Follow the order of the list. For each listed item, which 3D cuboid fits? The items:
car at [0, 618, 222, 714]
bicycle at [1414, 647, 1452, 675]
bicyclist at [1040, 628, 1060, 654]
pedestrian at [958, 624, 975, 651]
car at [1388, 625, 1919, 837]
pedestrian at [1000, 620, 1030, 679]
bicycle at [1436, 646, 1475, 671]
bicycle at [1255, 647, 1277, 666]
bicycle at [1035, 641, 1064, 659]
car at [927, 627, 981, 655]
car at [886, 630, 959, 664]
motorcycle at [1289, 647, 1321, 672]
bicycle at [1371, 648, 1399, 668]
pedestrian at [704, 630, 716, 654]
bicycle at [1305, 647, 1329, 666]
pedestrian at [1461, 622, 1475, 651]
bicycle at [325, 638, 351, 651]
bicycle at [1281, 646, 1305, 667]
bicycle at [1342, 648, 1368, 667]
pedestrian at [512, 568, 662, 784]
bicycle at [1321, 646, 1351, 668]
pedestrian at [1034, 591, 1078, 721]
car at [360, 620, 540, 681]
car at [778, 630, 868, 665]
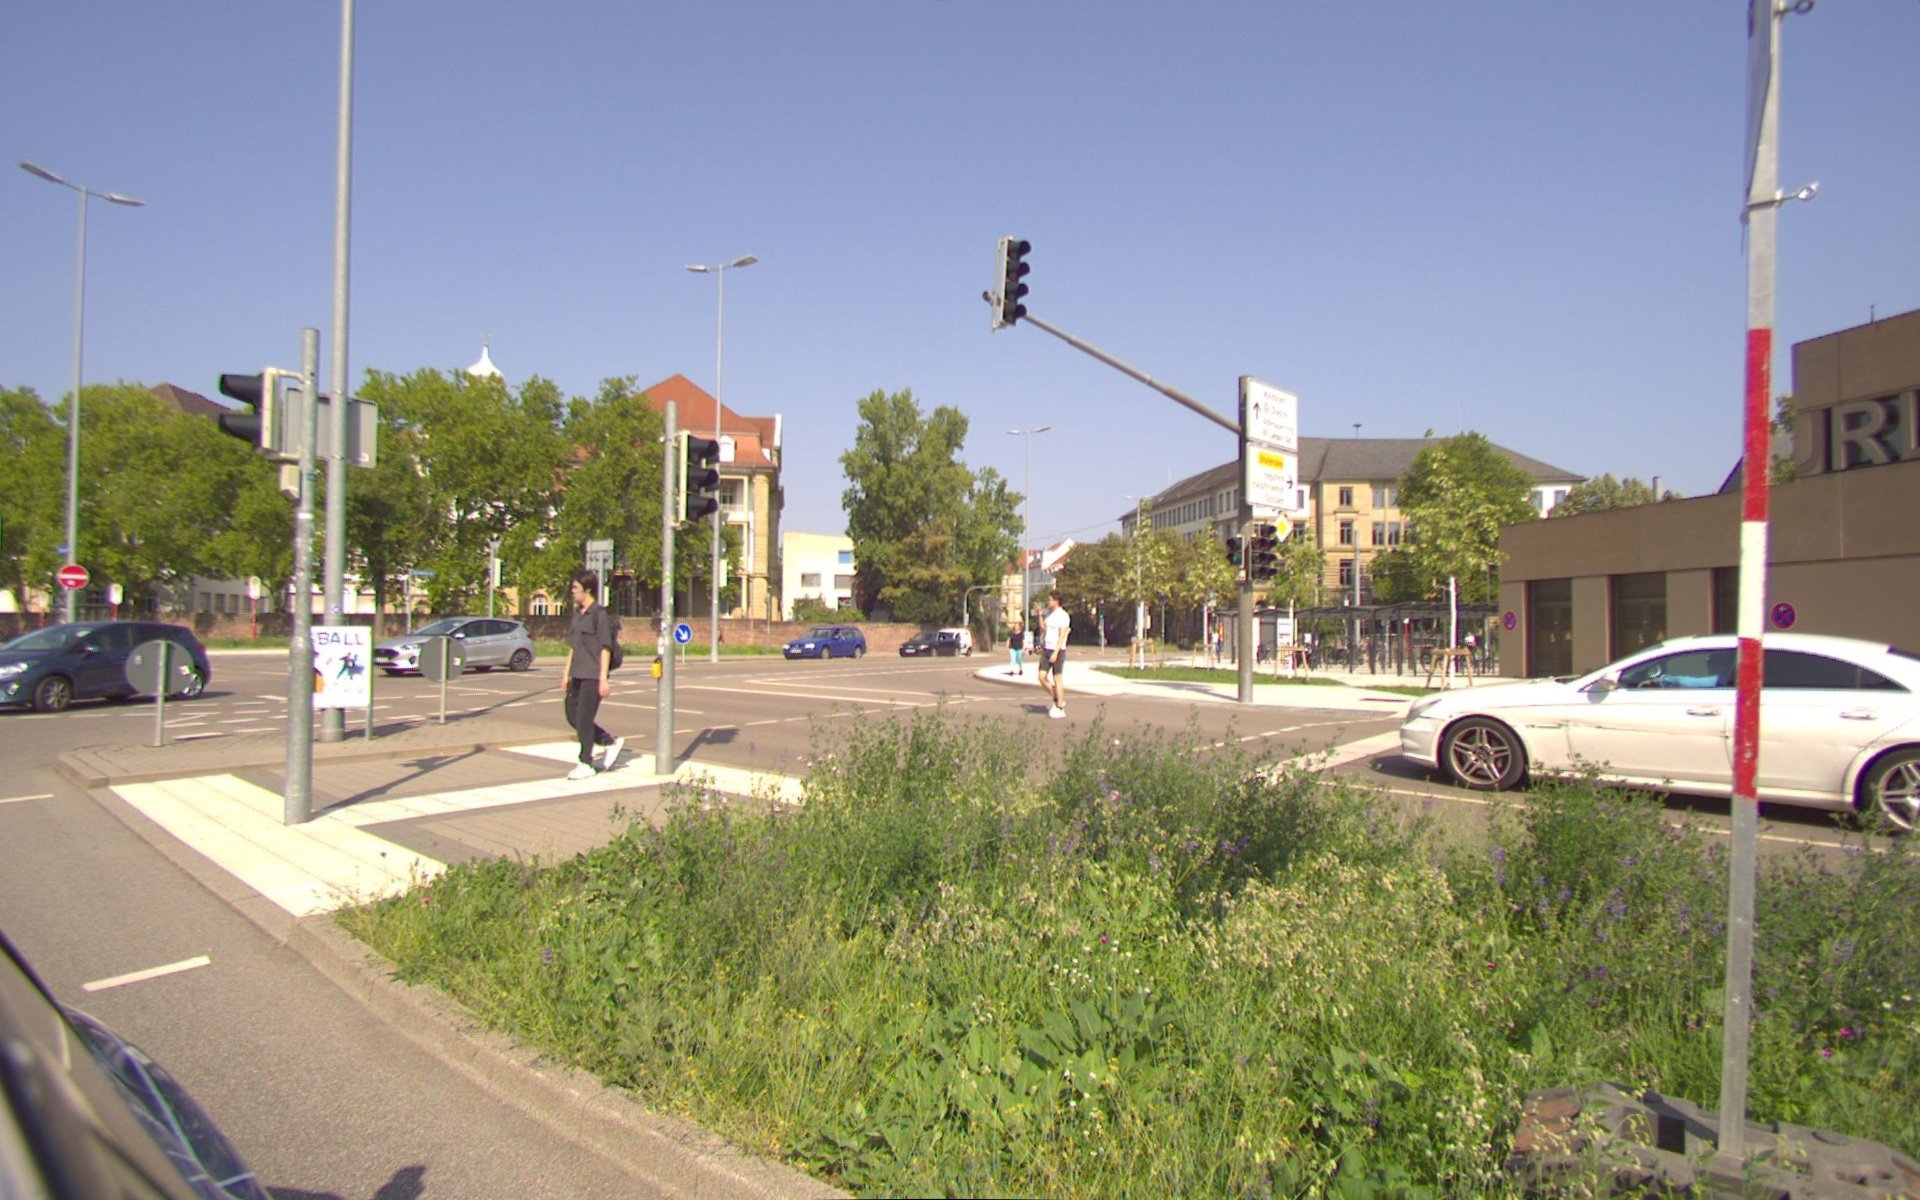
[{"bbox_3d":[-14.973,1.056,16.993,1.622,1.438,4.311,0,-2,8],"label":"car"},{"bbox_3d":[17.896,2.288,38.338,0.395,1.017,1.749,1,-2,-9],"label":"bicycle"},{"bbox_3d":[6.426,2.919,72.134,0.883,1.759,1.355,-4,-4,29],"label":"bicyclist"},{"bbox_3d":[0.501,2.910,77.980,0.820,2.029,0.896,-5,-5,40],"label":"pedestrian"},{"bbox_3d":[6.285,0.928,8.276,4.819,1.372,1.822,0,-1,43],"label":"car"},{"bbox_3d":[1.499,1.340,27.568,0.745,1.577,0.665,1,-2,8],"label":"pedestrian"},{"bbox_3d":[20.864,2.446,42.665,0.454,1.017,1.878,1,-2,-9],"label":"bicycle"},{"bbox_3d":[14.894,2.737,49.246,0.395,0.899,1.591,1,-2,-9],"label":"bicycle"},{"bbox_3d":[6.404,3.559,72.025,0.883,1.214,3.047,-4,-4,29],"label":"bicycle"},{"bbox_3d":[-0.340,2.620,64.976,1.749,1.691,3.960,-4,-4,29],"label":"car"},{"bbox_3d":[-1.778,2.255,49.344,1.989,1.564,3.965,-1,-2,26],"label":"car"},{"bbox_3d":[14.737,2.522,43.270,0.534,1.017,1.749,1,-2,-9],"label":"motorcycle"},{"bbox_3d":[19.856,2.700,47.315,0.403,0.899,1.591,1,-2,-9],"label":"bicycle"},{"bbox_3d":[-17.647,2.961,71.370,0.707,1.696,0.595,0,-2,-6],"label":"pedestrian"},{"bbox_3d":[17.399,2.767,49.370,0.403,0.899,1.591,1,-2,-9],"label":"bicycle"},{"bbox_3d":[31.061,2.205,61.863,0.712,1.762,0.386,-1,-3,24],"label":"pedestrian"},{"bbox_3d":[-42.980,3.074,69.986,1.529,0.842,0.434,0,-2,1],"label":"bicycle"},{"bbox_3d":[16.185,2.748,49.264,0.415,0.975,1.591,1,-2,-9],"label":"bicycle"},{"bbox_3d":[18.583,2.694,47.607,0.403,0.899,1.591,1,-2,-9],"label":"bicycle"},{"bbox_3d":[-3.423,0.670,9.324,0.730,1.854,1.067,-2,-3,45],"label":"pedestrian"},{"bbox_3d":[17.595,2.655,47.421,0.525,0.994,1.716,1,-2,-9],"label":"bicycle"},{"bbox_3d":[1.393,0.806,14.753,0.562,1.847,0.695,0,-2,-2],"label":"pedestrian"},{"bbox_3d":[-12.919,1.235,25.856,1.713,1.444,3.823,-1,-2,28],"label":"car"},{"bbox_3d":[-5.448,1.881,40.839,1.598,1.339,4.297,-1,-2,24],"label":"car"}]
